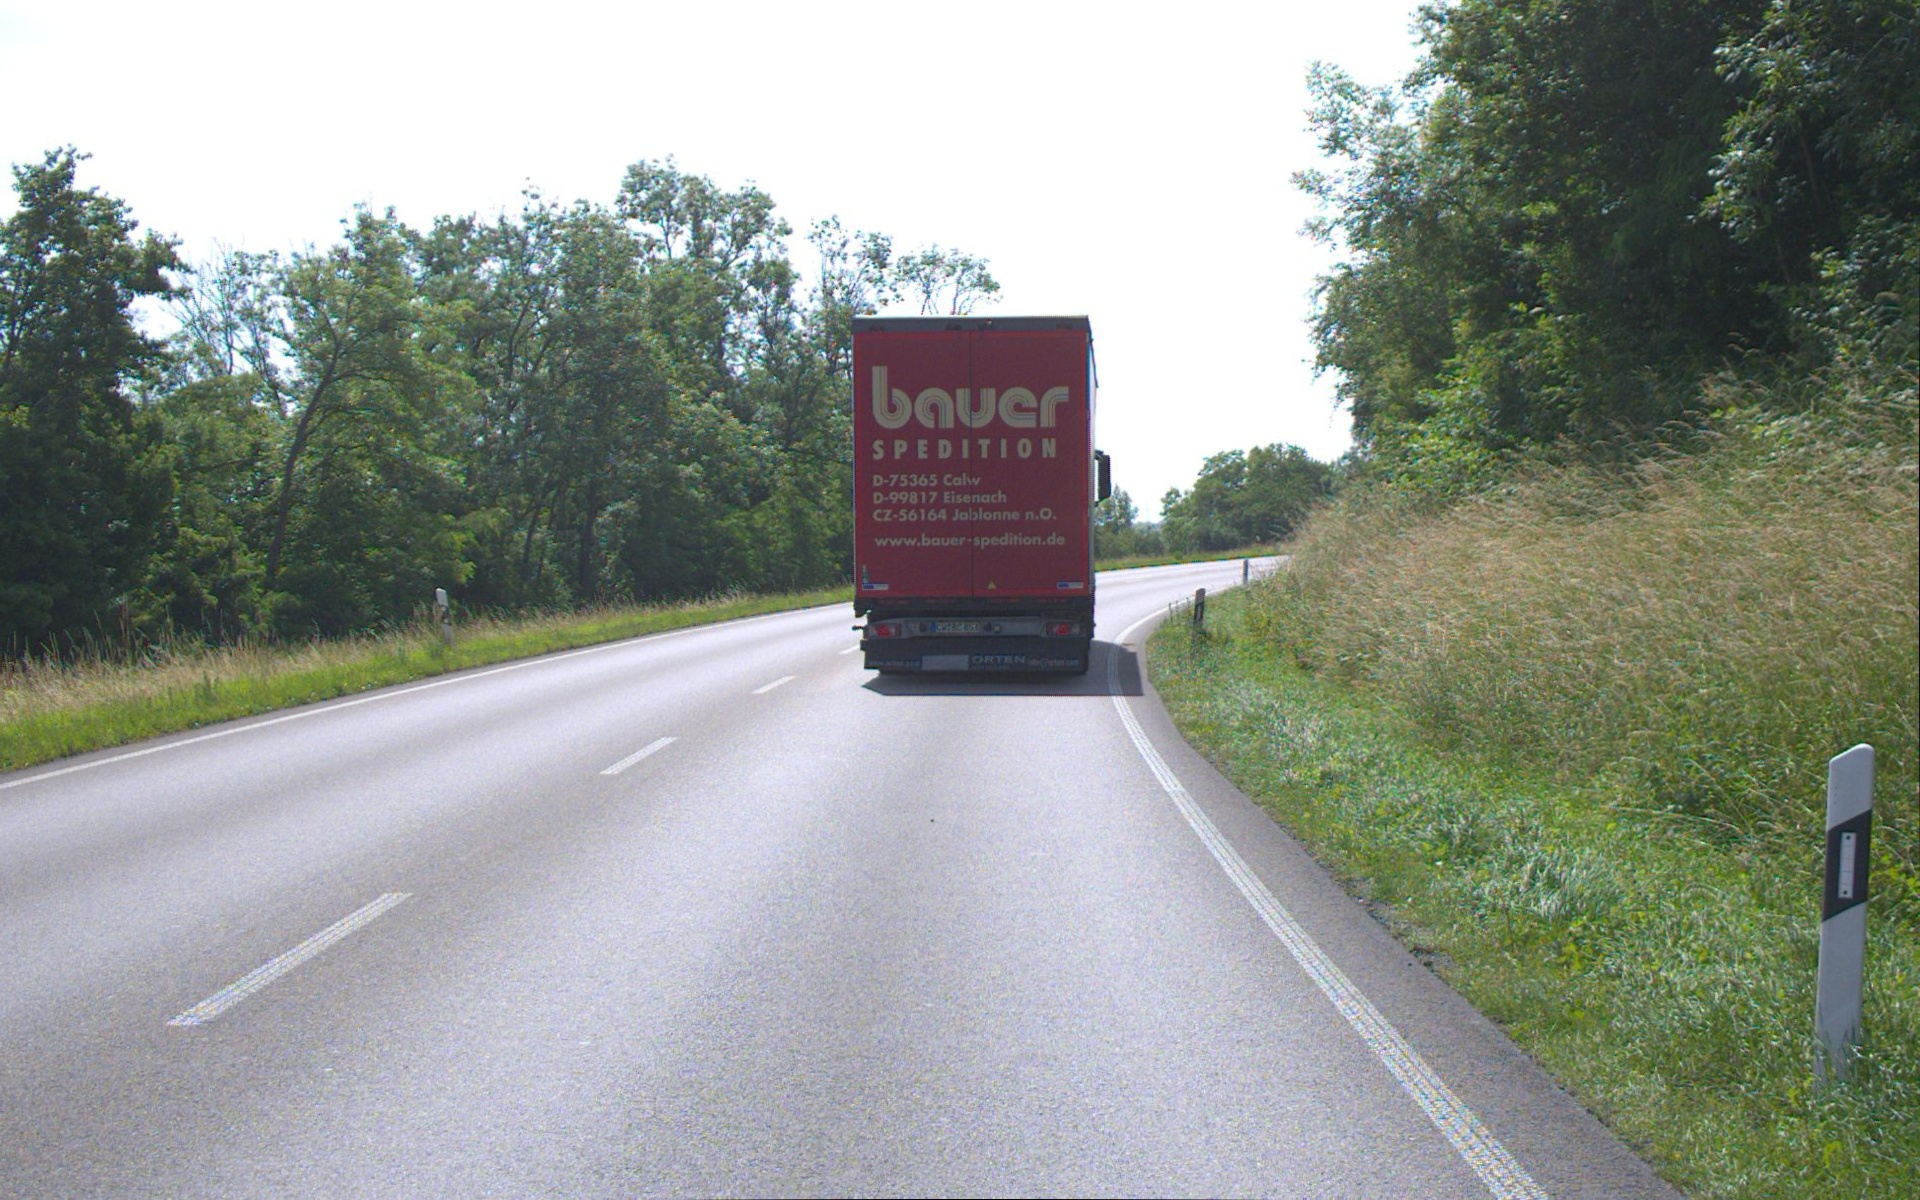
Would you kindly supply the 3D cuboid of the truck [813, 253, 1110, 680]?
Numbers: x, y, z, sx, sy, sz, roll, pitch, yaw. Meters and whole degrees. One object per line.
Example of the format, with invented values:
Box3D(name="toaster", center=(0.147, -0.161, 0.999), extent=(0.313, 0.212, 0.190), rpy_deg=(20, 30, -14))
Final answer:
Box3D(name="truck", center=(0.141, -1.518, 42.390), extent=(3.112, 4.490, 12.168), rpy_deg=(0, 1, 1))
